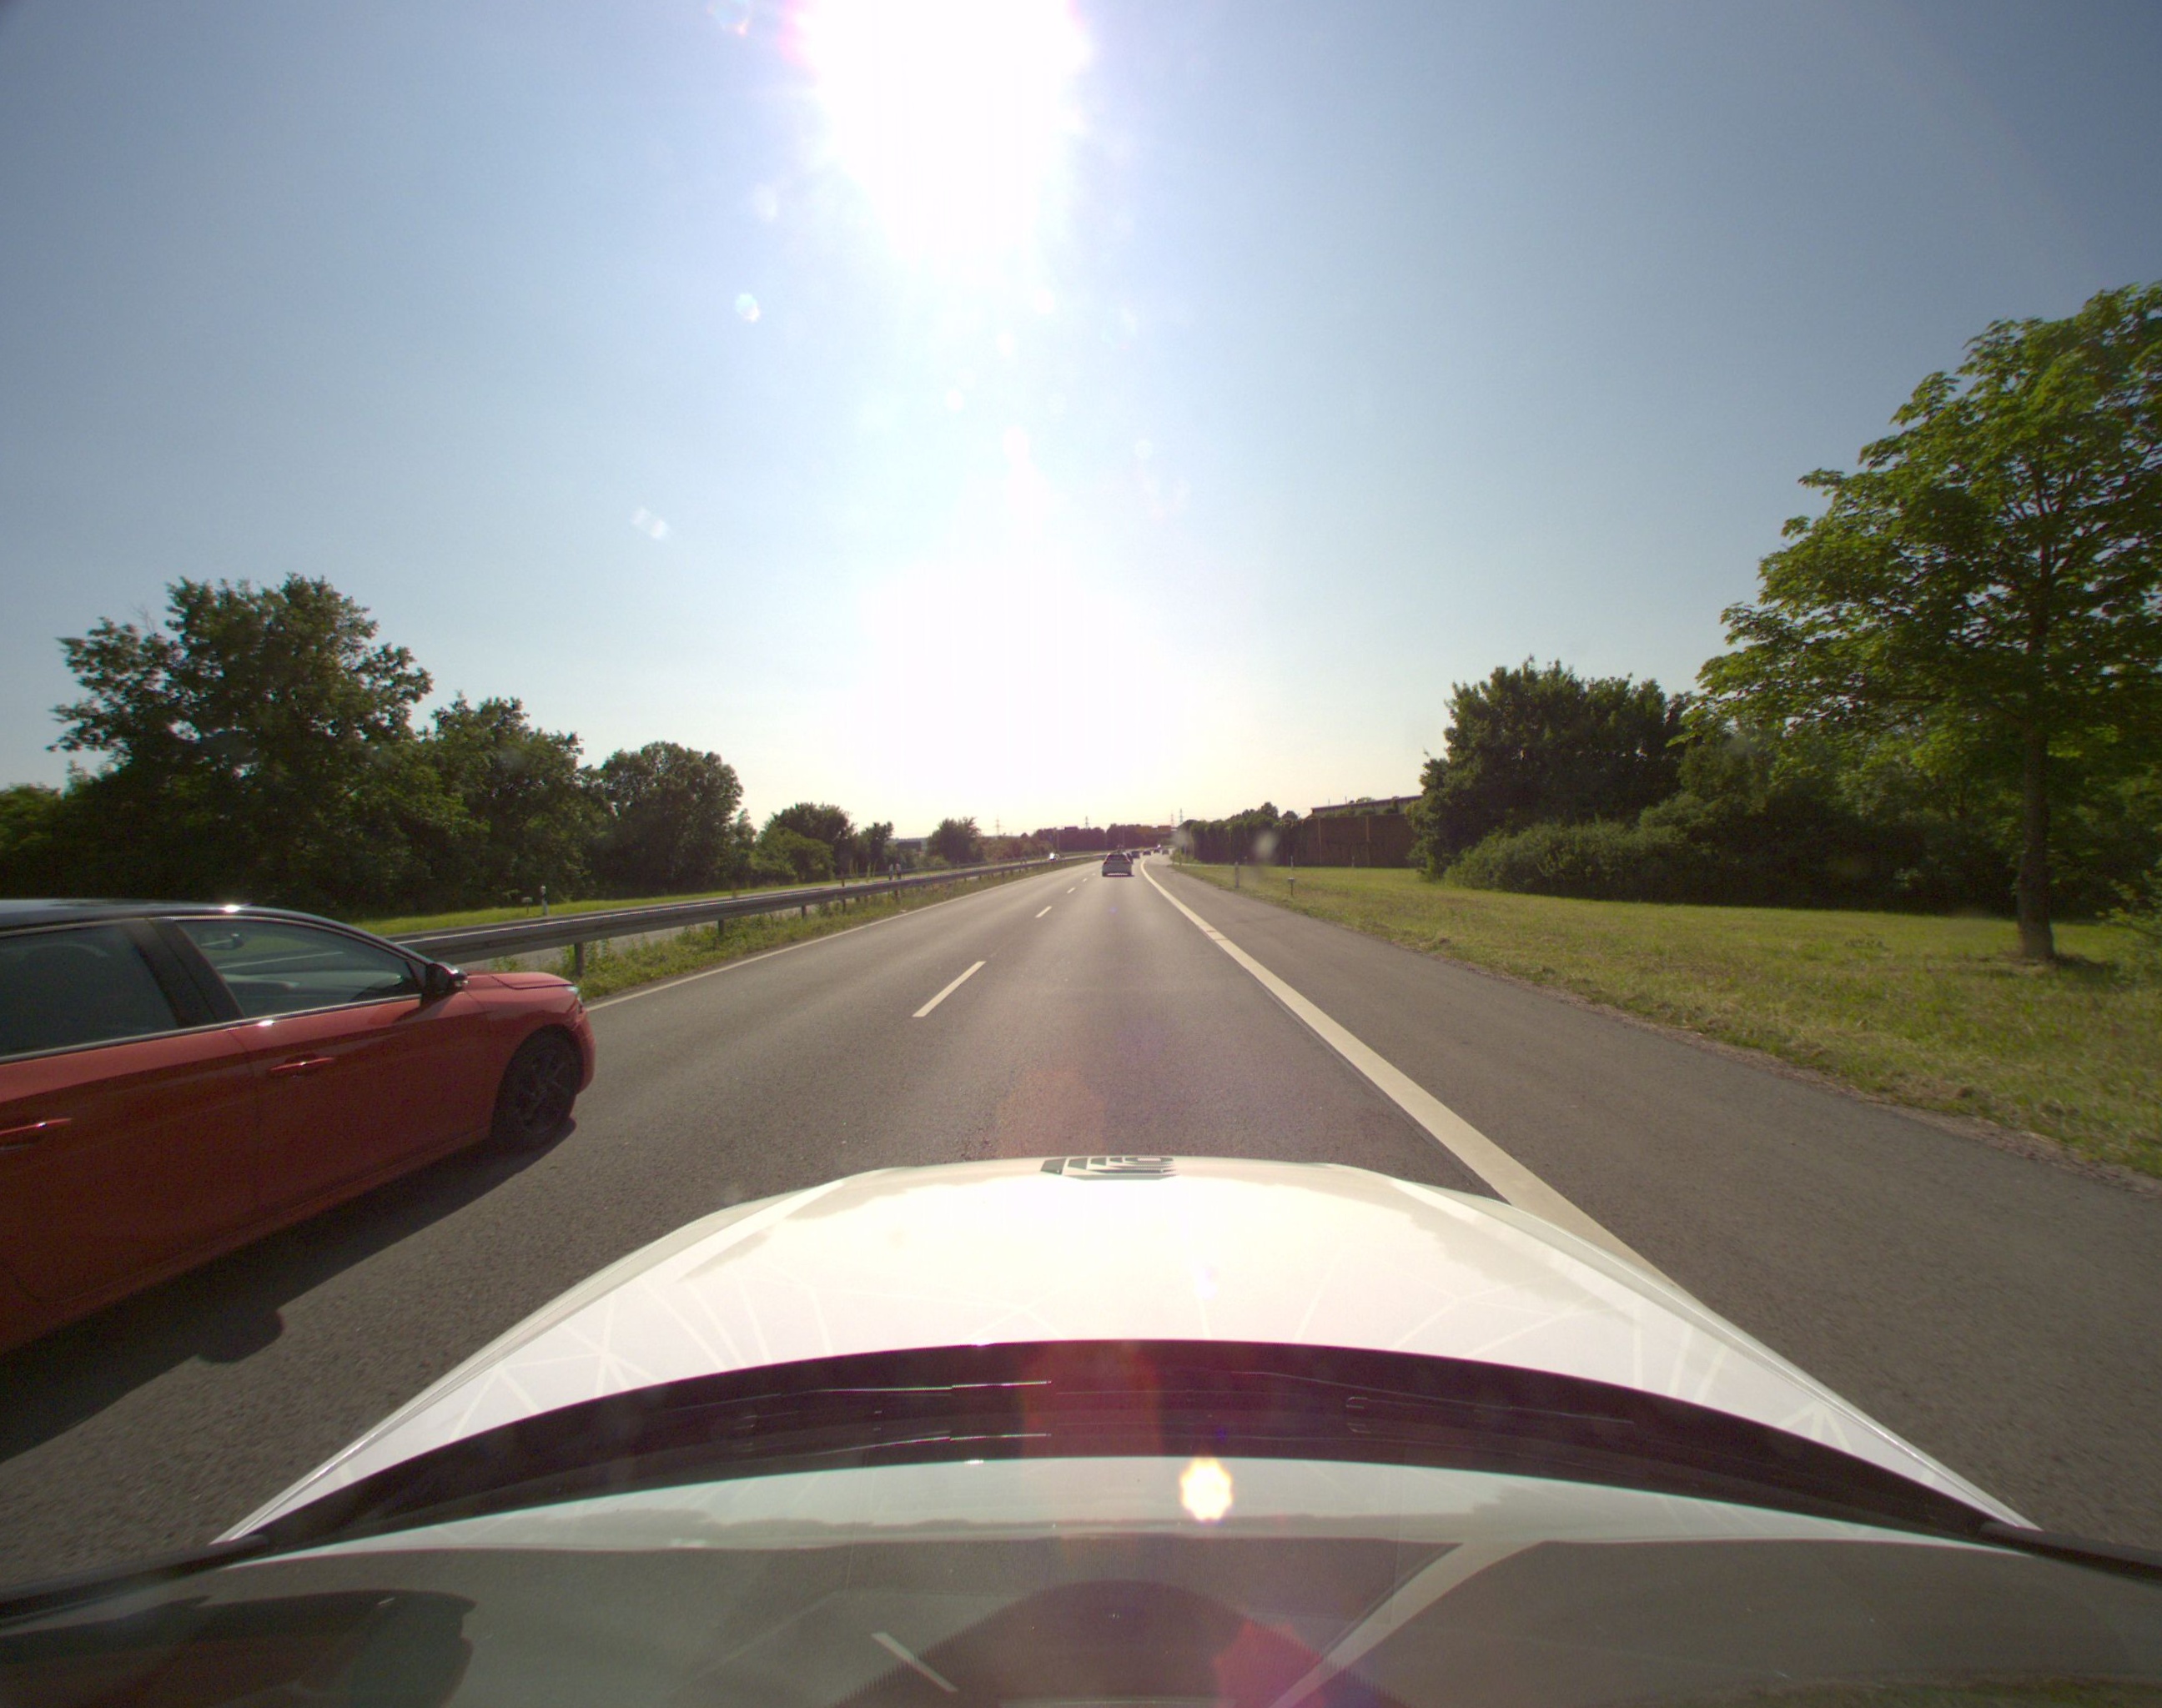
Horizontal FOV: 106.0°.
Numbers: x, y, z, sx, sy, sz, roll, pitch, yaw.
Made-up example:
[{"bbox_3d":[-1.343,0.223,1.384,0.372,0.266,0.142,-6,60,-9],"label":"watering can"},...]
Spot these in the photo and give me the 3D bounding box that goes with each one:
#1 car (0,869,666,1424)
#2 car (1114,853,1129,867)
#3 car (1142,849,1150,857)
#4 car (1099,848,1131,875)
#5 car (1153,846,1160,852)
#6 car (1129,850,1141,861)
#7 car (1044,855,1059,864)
[{"bbox_3d":[-3.722,0.837,3.276,1.703,1.437,4.413,-2,0,1],"label":"car"},{"bbox_3d":[4.860,0.685,97.318,1.785,1.543,3.676,-1,0,4],"label":"car"},{"bbox_3d":[15.826,-0.285,197.123,1.832,1.802,4.006,-1,0,6],"label":"car"},{"bbox_3d":[2.169,0.459,52.277,1.951,1.601,4.109,-1,1,2],"label":"car"},{"bbox_3d":[22.351,-1.361,240.609,1.830,1.698,4.010,-1,0,8],"label":"car"},{"bbox_3d":[9.552,0.241,143.381,1.759,1.736,3.640,-1,0,7],"label":"car"},{"bbox_3d":[-4.689,0.938,130.090,1.792,1.420,4.680,-1,0,3],"label":"car"}]
